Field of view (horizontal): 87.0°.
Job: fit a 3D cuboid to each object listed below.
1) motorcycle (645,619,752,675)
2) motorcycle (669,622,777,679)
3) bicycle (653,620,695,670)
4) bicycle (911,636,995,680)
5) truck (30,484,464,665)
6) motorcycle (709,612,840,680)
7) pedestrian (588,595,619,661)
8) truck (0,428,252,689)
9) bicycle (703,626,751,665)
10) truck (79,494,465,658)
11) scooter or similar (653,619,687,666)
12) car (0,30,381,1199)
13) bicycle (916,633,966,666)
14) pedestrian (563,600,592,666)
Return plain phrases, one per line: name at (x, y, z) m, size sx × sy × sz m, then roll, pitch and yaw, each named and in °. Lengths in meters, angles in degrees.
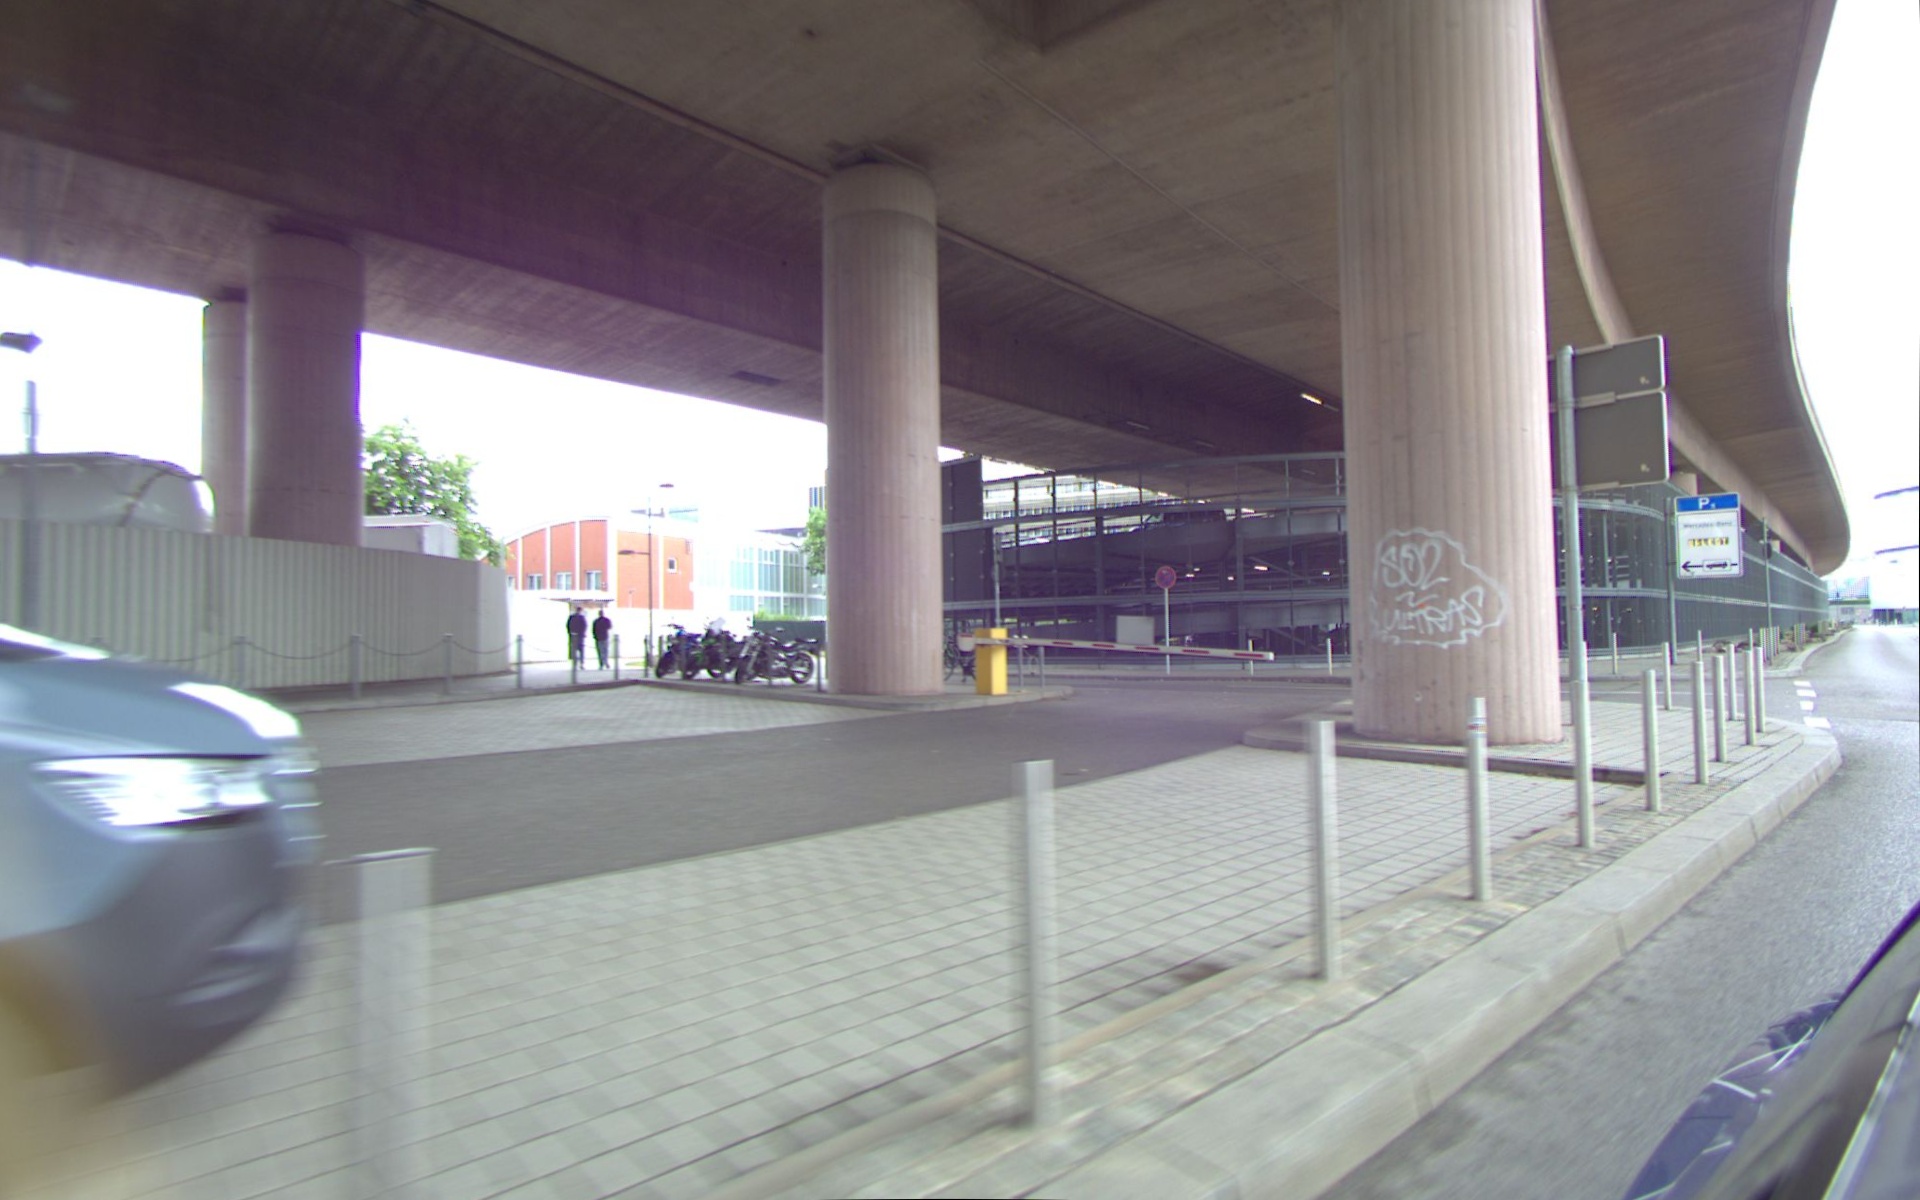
motorcycle at (-5.646, 1.038, 22.010) m, size 0.571 × 1.120 × 2.294 m, roll -2°, pitch -6°, yaw 40°
motorcycle at (-4.932, 1.042, 21.212) m, size 0.542 × 1.120 × 2.292 m, roll -2°, pitch -3°, yaw 43°
bicycle at (-6.777, 1.096, 24.075) m, size 0.608 × 1.120 × 2.331 m, roll 2°, pitch -4°, yaw -8°
bicycle at (-0.182, 1.271, 22.524) m, size 2.005 × 0.938 × 0.414 m, roll -2°, pitch -3°, yaw 35°
truck at (-17.614, -0.594, 25.605) m, size 8.591 × 4.212 × 2.914 m, roll 0°, pitch -1°, yaw -7°
motorcycle at (-3.608, 0.905, 19.921) m, size 2.493 × 1.251 × 0.783 m, roll 3°, pitch -3°, yaw -44°
pedestrian at (-10.147, 0.785, 28.790) m, size 0.683 × 1.850 × 0.505 m, roll -1°, pitch -2°, yaw 5°
truck at (-18.936, -0.687, 18.144) m, size 10.092 × 4.358 × 3.015 m, roll 0°, pitch -1°, yaw -4°
bicycle at (-6.544, 1.270, 28.354) m, size 0.389 × 1.037 × 2.059 m, roll 2°, pitch -3°, yaw -41°
truck at (-19.001, -0.624, 28.506) m, size 8.591 × 4.291 × 2.914 m, roll 0°, pitch -1°, yaw -7°
scooter or similar at (-7.961, 1.192, 27.868) m, size 0.533 × 1.234 × 1.680 m, roll 2°, pitch -4°, yaw -5°
car at (-4.365, 0.103, 1.325) m, size 5.972 × 2.646 × 1.995 m, roll 0°, pitch -1°, yaw -43°
bicycle at (-0.645, 1.664, 34.086) m, size 1.775 × 1.093 × 0.431 m, roll -2°, pitch -3°, yaw 34°
pedestrian at (-10.862, 0.942, 28.762) m, size 0.633 × 1.850 × 0.505 m, roll -1°, pitch -2°, yaw 4°
